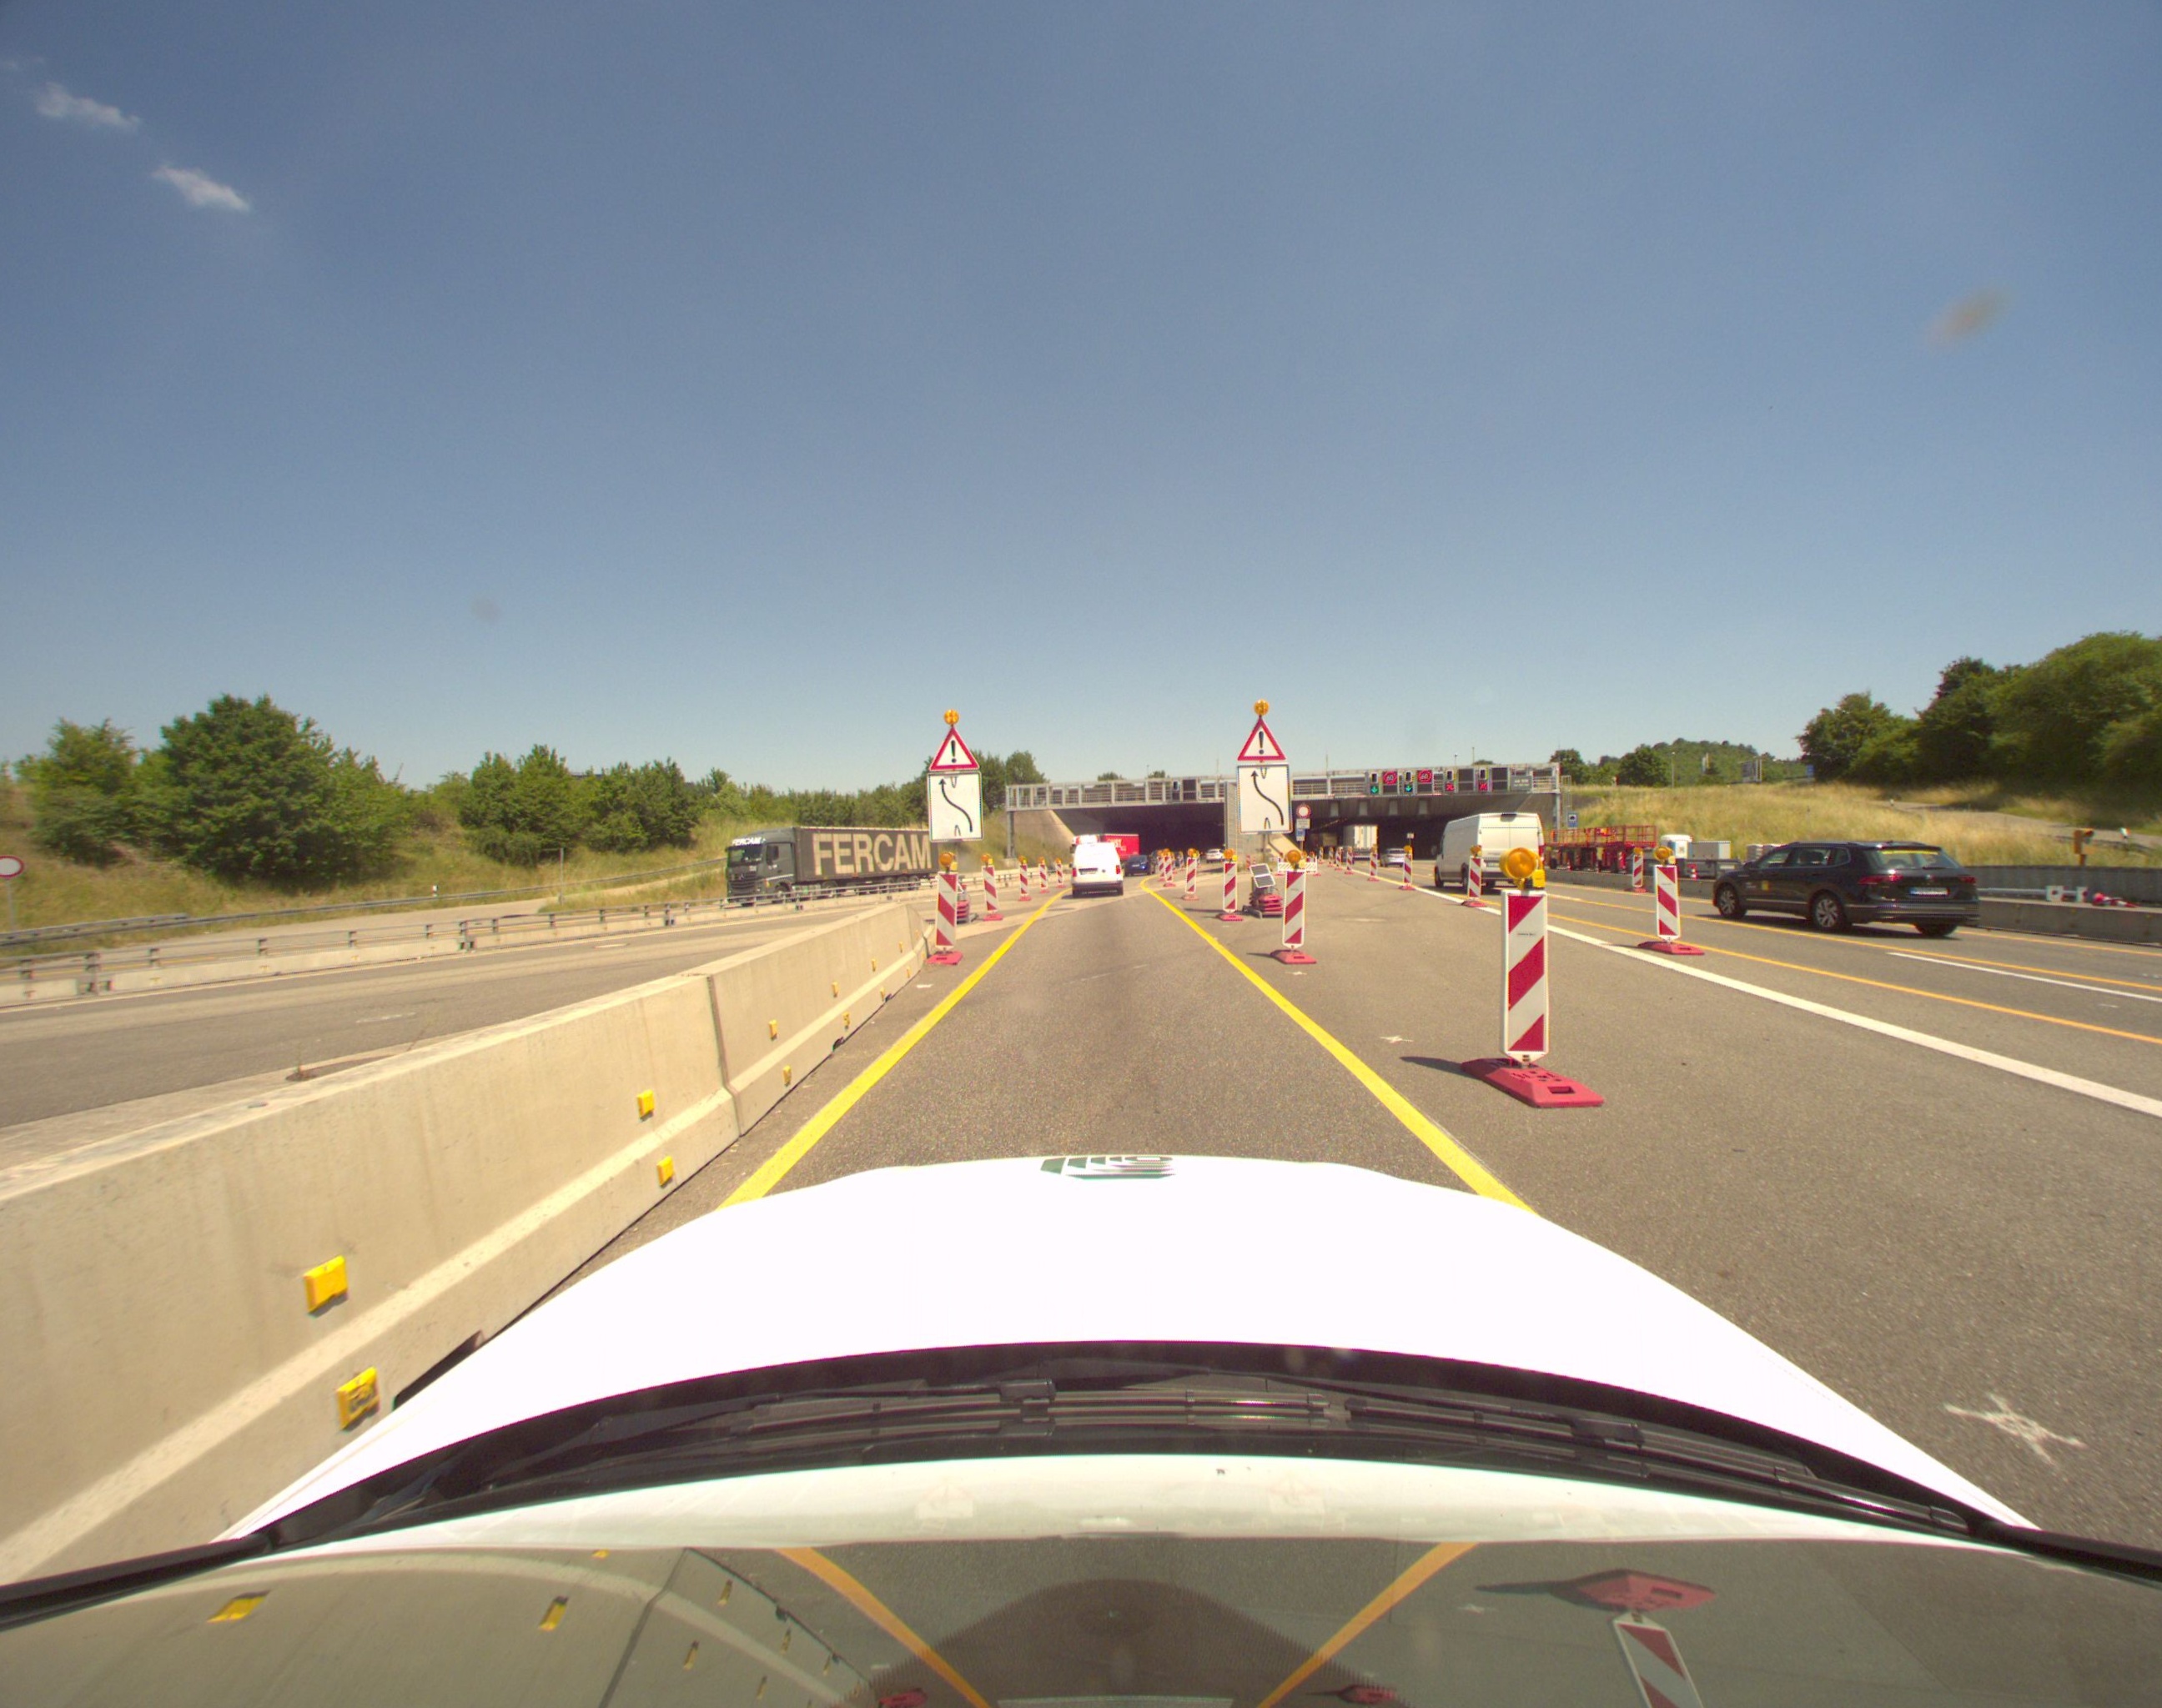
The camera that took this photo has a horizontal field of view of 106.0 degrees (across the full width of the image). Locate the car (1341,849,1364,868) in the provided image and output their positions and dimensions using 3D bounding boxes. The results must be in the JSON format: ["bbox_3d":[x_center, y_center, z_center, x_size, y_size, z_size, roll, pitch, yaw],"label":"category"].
[{"bbox_3d":[24.697,0.390,74.098,1.801,1.642,4.672,0,0,16],"label":"car"}]

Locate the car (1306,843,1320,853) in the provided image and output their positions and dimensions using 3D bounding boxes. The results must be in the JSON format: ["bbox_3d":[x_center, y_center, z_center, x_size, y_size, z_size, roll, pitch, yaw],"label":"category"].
[{"bbox_3d":[39.465,-1.027,138.612,1.804,1.630,4.200,0,0,9],"label":"car"}]

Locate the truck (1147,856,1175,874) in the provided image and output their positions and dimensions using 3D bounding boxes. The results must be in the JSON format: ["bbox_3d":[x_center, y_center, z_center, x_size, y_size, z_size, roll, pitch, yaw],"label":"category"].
[{"bbox_3d":[9.547,1.287,97.089,1.976,1.873,4.786,-2,0,21],"label":"truck"}]

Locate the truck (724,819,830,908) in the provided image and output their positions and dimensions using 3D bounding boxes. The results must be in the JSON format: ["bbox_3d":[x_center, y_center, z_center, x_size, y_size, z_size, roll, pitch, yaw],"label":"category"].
[{"bbox_3d":[-15.607,0.473,42.080,2.411,4.270,4.863,-2,-1,20],"label":"truck"}]

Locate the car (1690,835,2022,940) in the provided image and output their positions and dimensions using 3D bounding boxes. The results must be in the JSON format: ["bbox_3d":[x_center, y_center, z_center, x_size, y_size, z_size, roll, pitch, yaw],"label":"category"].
[{"bbox_3d":[14.352,0.551,15.673,2.007,1.662,5.250,0,0,9],"label":"car"}]

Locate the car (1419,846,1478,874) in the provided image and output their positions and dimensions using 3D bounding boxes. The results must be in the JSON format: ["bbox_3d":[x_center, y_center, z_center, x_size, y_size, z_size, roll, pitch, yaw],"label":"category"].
[{"bbox_3d":[20.766,0.400,46.230,1.805,1.465,4.662,1,-1,8],"label":"car"}]

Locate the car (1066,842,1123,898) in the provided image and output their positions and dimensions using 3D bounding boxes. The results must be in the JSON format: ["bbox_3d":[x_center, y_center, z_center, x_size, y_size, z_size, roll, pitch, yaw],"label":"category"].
[{"bbox_3d":[0.539,0.539,28.559,1.801,1.794,3.733,-2,0,3],"label":"car"}]

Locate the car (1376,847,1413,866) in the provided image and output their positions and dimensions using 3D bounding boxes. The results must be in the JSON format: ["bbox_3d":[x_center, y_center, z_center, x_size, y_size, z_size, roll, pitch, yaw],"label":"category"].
[{"bbox_3d":[24.897,0.178,64.801,1.804,1.464,4.665,0,0,9],"label":"car"}]

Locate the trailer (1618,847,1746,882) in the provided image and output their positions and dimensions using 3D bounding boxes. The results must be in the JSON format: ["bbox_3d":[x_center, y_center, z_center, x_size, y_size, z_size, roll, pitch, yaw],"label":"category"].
[{"bbox_3d":[30.680,0.475,41.926,2.580,1.569,6.249,-2,0,8],"label":"trailer"}]

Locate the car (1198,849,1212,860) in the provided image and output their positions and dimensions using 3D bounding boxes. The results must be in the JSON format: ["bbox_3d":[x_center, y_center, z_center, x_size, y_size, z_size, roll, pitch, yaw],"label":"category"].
[{"bbox_3d":[22.838,0.119,149.575,1.674,1.834,4.809,-4,-2,18],"label":"car"}]

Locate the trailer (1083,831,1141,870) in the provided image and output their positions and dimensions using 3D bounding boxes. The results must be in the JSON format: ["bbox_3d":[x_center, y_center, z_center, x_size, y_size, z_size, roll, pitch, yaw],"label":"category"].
[{"bbox_3d":[3.745,-0.340,93.484,2.318,4.102,13.330,-2,-1,21],"label":"trailer"}]

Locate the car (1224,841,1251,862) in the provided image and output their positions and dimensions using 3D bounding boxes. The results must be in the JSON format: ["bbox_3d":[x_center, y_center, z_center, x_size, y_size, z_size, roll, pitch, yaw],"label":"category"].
[{"bbox_3d":[21.763,-0.304,112.804,2.791,2.773,7.133,0,-1,18],"label":"car"}]

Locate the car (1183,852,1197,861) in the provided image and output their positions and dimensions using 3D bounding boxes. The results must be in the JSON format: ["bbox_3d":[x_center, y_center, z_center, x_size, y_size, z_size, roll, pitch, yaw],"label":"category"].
[{"bbox_3d":[18.483,0.359,137.843,1.674,1.395,4.017,-4,-2,16],"label":"car"}]

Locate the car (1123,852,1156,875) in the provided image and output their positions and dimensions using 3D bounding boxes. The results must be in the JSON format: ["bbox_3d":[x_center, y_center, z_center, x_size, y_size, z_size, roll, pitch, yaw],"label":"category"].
[{"bbox_3d":[4.202,0.677,57.836,1.797,1.537,4.422,-2,0,10],"label":"car"}]

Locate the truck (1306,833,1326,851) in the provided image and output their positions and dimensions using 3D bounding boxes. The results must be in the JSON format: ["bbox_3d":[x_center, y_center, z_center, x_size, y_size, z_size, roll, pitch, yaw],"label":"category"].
[{"bbox_3d":[57.119,-2.865,197.974,3.379,4.071,16.589,0,0,12],"label":"truck"}]

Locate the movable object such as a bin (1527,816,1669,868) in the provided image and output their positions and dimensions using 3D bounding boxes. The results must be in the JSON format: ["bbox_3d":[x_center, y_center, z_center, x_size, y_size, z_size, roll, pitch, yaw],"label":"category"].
[{"bbox_3d":[34.987,-0.677,56.148,3.091,3.011,14.748,-2,-1,12],"label":"movable object such as a bin"}]

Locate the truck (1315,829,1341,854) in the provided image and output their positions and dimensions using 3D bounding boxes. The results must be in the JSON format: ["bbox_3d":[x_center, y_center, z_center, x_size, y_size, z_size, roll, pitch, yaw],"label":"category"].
[{"bbox_3d":[47.921,-2.309,158.630,3.379,4.335,16.588,1,-1,12],"label":"truck"}]

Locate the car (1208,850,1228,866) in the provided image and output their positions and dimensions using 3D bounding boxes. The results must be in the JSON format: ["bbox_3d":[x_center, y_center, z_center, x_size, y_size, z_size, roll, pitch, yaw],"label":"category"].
[{"bbox_3d":[16.251,0.452,96.318,1.795,1.751,4.428,-2,0,15],"label":"car"}]

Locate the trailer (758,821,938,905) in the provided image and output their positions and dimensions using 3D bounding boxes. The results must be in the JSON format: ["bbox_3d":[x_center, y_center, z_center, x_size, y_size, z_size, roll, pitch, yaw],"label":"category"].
[{"bbox_3d":[-13.200,0.447,48.518,2.415,4.297,13.879,-2,0,20],"label":"trailer"}]

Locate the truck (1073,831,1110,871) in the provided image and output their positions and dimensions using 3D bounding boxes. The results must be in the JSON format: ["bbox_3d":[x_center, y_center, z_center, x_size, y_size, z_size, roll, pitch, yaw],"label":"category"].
[{"bbox_3d":[1.169,-0.314,86.780,2.314,4.108,5.043,-2,-1,21],"label":"truck"}]

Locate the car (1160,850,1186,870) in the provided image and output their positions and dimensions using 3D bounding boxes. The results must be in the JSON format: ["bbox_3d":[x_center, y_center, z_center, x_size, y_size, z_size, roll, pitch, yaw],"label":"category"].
[{"bbox_3d":[8.838,0.546,77.761,1.795,1.815,4.426,-2,0,14],"label":"car"}]

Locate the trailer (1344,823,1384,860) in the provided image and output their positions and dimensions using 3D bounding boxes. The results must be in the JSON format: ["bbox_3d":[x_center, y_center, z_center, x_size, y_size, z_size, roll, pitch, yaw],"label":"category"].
[{"bbox_3d":[33.118,-1.319,95.694,2.714,4.062,14.141,0,0,12],"label":"trailer"}]

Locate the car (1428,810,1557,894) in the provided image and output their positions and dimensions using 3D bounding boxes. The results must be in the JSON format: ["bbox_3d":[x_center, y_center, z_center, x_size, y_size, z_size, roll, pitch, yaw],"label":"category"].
[{"bbox_3d":[13.964,-0.045,28.199,2.251,2.536,6.604,0,0,11],"label":"car"}]
